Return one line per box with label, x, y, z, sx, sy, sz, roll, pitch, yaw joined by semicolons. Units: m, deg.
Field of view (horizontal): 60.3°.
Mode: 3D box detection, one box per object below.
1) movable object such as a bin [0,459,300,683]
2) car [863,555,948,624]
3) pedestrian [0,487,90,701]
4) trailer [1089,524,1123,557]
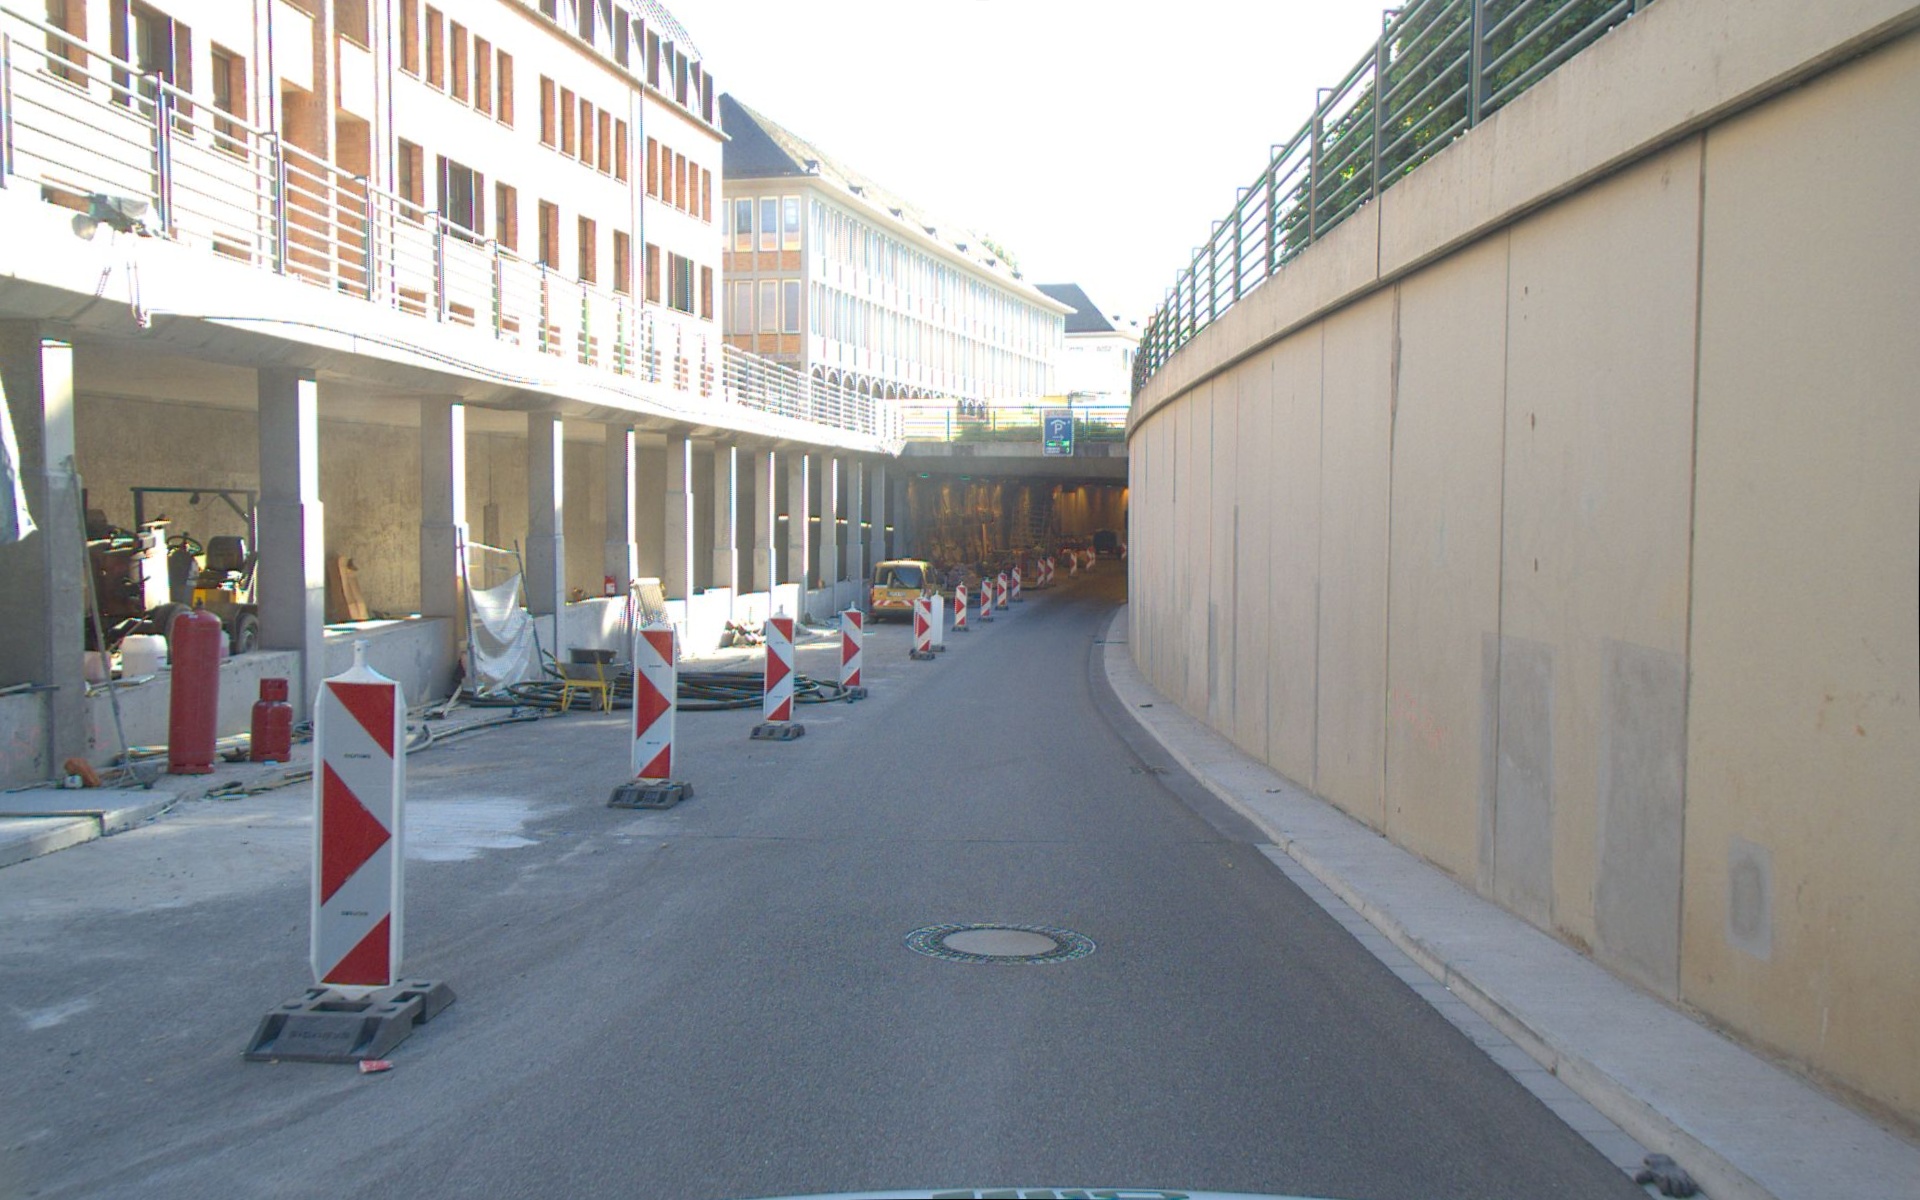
movable object such as a bin;-8.229;-0.298;16.740;1.847;2.021;3.158;1;1;-1
car;-1.555;-0.352;48.665;1.809;1.806;4.439;1;3;7
pedestrian;-8.210;-0.058;14.601;0.643;1.836;0.625;2;0;9
trailer;8.705;-3.552;98.415;1.547;1.828;2.943;2;4;13
